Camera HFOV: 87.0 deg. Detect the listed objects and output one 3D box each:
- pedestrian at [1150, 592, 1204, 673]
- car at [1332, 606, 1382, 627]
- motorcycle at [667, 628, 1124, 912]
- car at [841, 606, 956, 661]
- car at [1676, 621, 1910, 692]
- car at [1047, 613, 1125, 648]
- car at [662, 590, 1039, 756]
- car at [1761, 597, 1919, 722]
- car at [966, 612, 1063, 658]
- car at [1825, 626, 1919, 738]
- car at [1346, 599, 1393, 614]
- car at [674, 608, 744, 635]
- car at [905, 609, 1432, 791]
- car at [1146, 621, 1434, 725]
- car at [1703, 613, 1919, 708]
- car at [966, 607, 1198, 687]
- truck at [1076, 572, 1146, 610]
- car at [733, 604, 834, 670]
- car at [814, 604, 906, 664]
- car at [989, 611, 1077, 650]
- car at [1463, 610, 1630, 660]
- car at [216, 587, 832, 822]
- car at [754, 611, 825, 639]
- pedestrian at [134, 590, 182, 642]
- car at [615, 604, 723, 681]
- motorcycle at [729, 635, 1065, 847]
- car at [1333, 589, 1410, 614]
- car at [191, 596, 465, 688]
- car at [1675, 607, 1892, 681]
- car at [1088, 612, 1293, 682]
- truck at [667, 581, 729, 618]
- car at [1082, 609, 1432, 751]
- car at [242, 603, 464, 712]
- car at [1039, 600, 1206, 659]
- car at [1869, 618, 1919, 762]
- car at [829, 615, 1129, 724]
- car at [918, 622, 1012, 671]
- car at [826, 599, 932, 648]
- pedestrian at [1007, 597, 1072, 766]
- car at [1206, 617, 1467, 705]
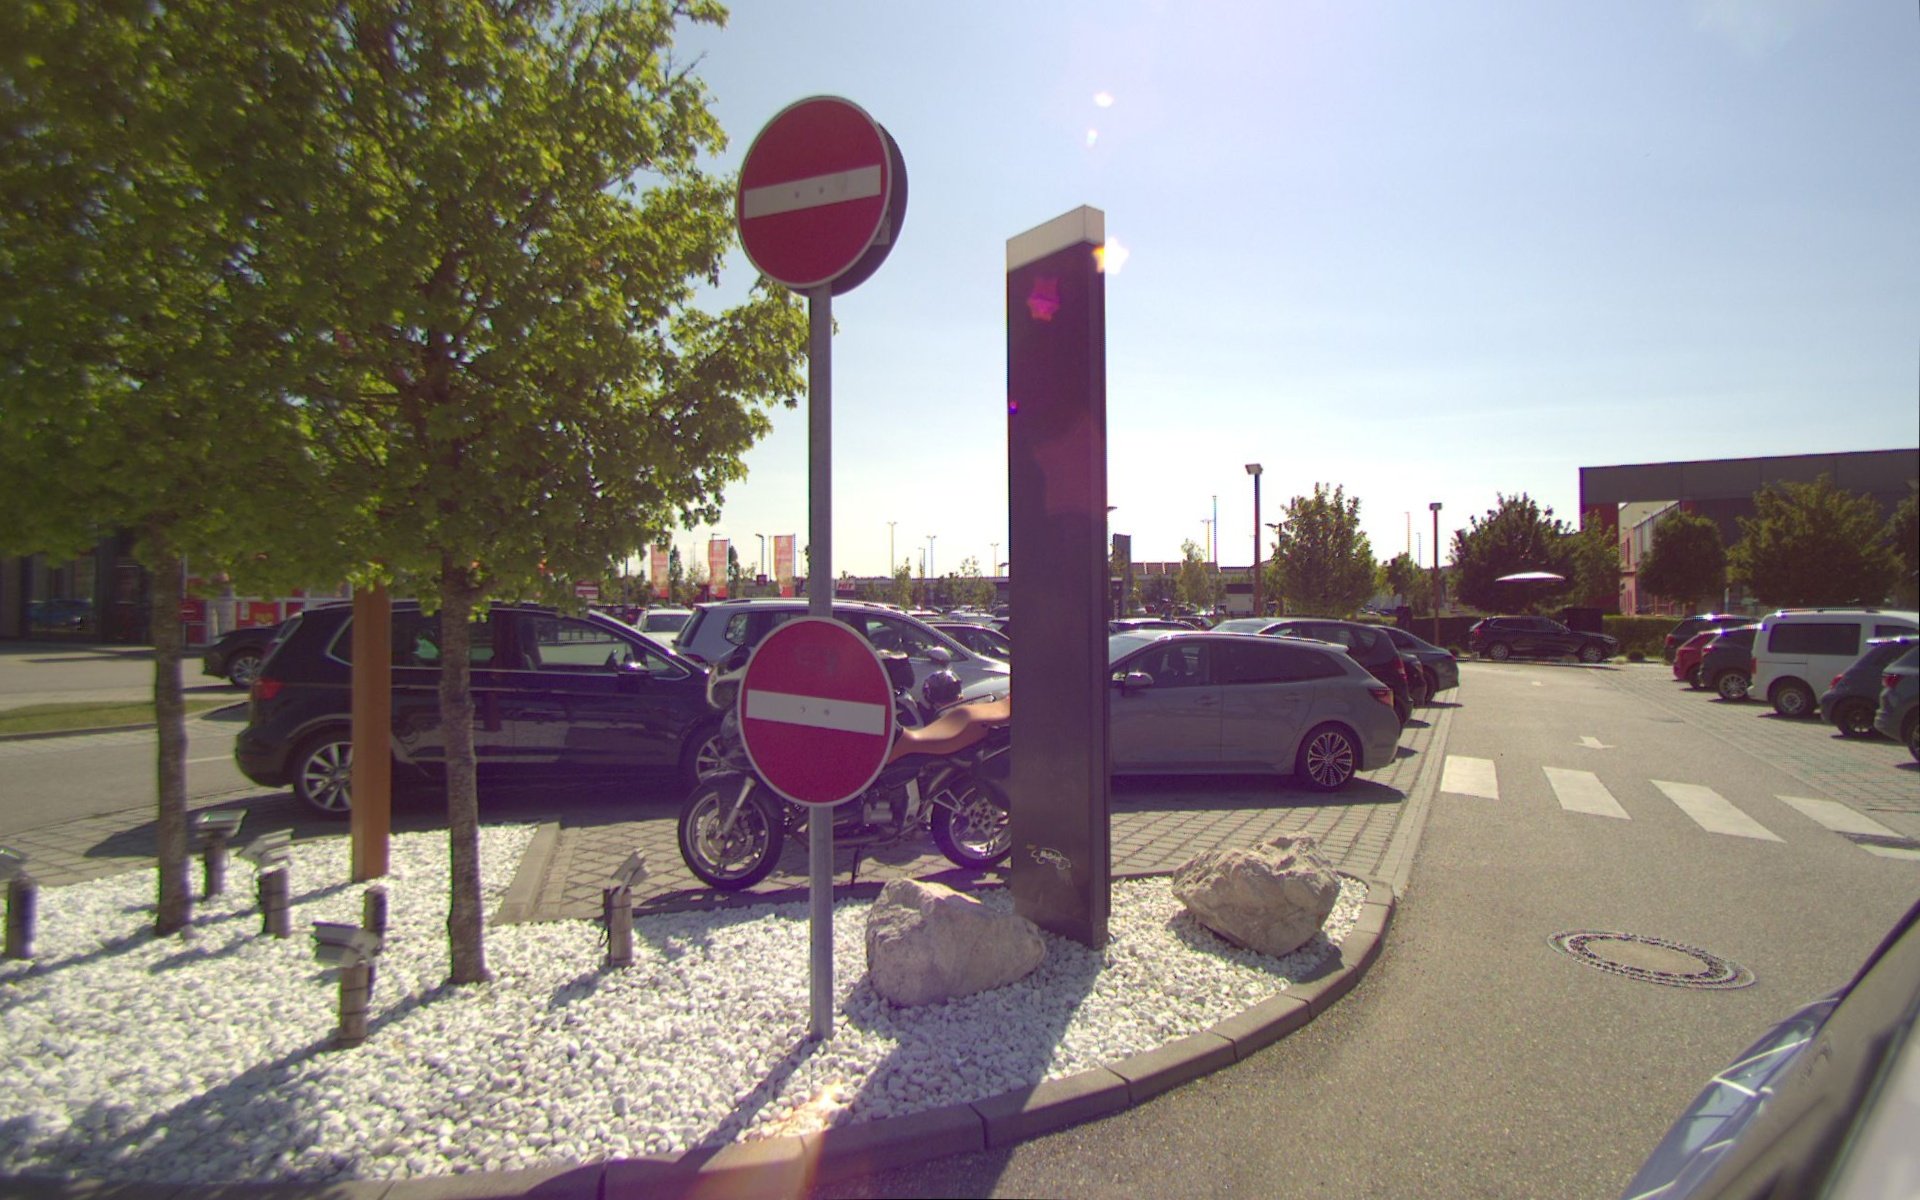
[{"bbox_3d":[5.395,0.789,25.140,1.024,1.940,0.889,0,-1,40],"label":"pedestrian"},{"bbox_3d":[34.364,1.441,87.566,3.956,1.750,1.878,0,-1,24],"label":"car"},{"bbox_3d":[-0.366,0.813,5.425,2.204,1.267,1.073,2,-3,-20],"label":"motorcycle"},{"bbox_3d":[-1.956,0.958,30.903,1.743,1.531,4.356,1,-1,-30],"label":"car"},{"bbox_3d":[18.778,1.216,22.980,1.642,1.462,3.773,1,-1,-33],"label":"car"},{"bbox_3d":[5.325,1.271,43.265,1.873,1.440,3.783,1,-1,-19],"label":"car"},{"bbox_3d":[-1.293,0.767,11.520,3.981,1.661,1.751,1,-1,-17],"label":"car"},{"bbox_3d":[15.673,0.932,16.199,1.721,1.946,4.153,1,-1,-22],"label":"car"},{"bbox_3d":[1.932,1.235,37.139,1.770,1.576,4.060,1,-1,-27],"label":"car"},{"bbox_3d":[13.959,1.115,13.437,1.535,1.501,3.421,1,-1,-23],"label":"car"},{"bbox_3d":[37.179,0.603,91.913,3.871,1.359,1.649,0,-1,28],"label":"car"},{"bbox_3d":[-14.267,1.208,57.670,1.677,1.472,3.707,0,-1,35],"label":"car"},{"bbox_3d":[1.920,0.894,9.670,4.564,1.465,1.839,2,-1,-15],"label":"car"},{"bbox_3d":[5.180,1.093,16.050,3.990,1.467,1.832,1,-1,-15],"label":"car"},{"bbox_3d":[17.073,1.099,19.700,1.722,1.653,3.849,1,-1,-28],"label":"car"},{"bbox_3d":[2.480,0.924,20.885,4.324,1.530,1.988,1,-1,-16],"label":"car"},{"bbox_3d":[13.847,-0.800,93.395,2.373,3.394,7.575,0,0,-28],"label":"truck"},{"bbox_3d":[-4.270,0.811,24.053,1.782,1.421,4.008,1,0,-18],"label":"car"},{"bbox_3d":[-2.797,0.867,27.580,1.782,1.508,4.008,1,0,-16],"label":"car"},{"bbox_3d":[2.849,1.173,40.257,1.760,1.440,4.093,1,-1,-24],"label":"car"},{"bbox_3d":[20.727,1.190,36.068,5.014,1.650,1.907,0,-1,27],"label":"car"},{"bbox_3d":[-3.257,0.724,8.245,4.102,1.556,1.900,1,0,-18],"label":"car"},{"bbox_3d":[-9.202,1.333,54.906,1.677,1.472,3.707,0,-1,35],"label":"car"},{"bbox_3d":[-22.511,0.438,28.416,0.764,1.453,0.793,0,0,25],"label":"pedestrian"},{"bbox_3d":[-6.374,0.833,21.819,1.874,1.490,4.480,1,-1,-21],"label":"car"},{"bbox_3d":[-0.413,0.885,6.856,2.096,1.247,0.822,2,-2,-24],"label":"motorcycle"},{"bbox_3d":[38.452,0.155,94.683,6.510,2.273,2.278,0,-1,28],"label":"car"},{"bbox_3d":[-11.640,0.749,18.944,4.000,1.596,1.760,0,-1,-16],"label":"car"},{"bbox_3d":[20.842,1.059,25.746,1.645,1.727,4.033,0,-1,-40],"label":"car"},{"bbox_3d":[5.456,1.073,24.102,4.324,1.530,1.988,1,-1,-16],"label":"car"},{"bbox_3d":[-29.334,-0.011,112.857,3.153,3.916,9.119,1,-1,-39],"label":"truck"},{"bbox_3d":[3.729,0.938,12.948,3.916,1.614,1.815,0,-1,-14],"label":"car"},{"bbox_3d":[-9.126,0.784,15.632,1.805,1.444,4.194,1,-1,-14],"label":"car"},{"bbox_3d":[4.119,0.744,25.825,3.821,1.444,1.710,1,-1,-15],"label":"car"},{"bbox_3d":[12.326,0.953,10.259,1.753,1.624,4.234,-2,-2,-18],"label":"car"},{"bbox_3d":[0.241,0.966,14.757,3.996,1.426,1.797,1,-1,-17],"label":"car"},{"bbox_3d":[0.066,1.492,33.734,1.676,1.429,4.691,1,0,-19],"label":"car"},{"bbox_3d":[-3.032,0.856,38.787,2.054,1.772,4.323,0,-1,29],"label":"car"},{"bbox_3d":[0.836,0.843,10.765,0.552,1.735,0.611,1,-1,-9],"label":"pedestrian"},{"bbox_3d":[7.188,1.114,19.430,4.447,1.530,1.891,1,-1,-16],"label":"car"}]
